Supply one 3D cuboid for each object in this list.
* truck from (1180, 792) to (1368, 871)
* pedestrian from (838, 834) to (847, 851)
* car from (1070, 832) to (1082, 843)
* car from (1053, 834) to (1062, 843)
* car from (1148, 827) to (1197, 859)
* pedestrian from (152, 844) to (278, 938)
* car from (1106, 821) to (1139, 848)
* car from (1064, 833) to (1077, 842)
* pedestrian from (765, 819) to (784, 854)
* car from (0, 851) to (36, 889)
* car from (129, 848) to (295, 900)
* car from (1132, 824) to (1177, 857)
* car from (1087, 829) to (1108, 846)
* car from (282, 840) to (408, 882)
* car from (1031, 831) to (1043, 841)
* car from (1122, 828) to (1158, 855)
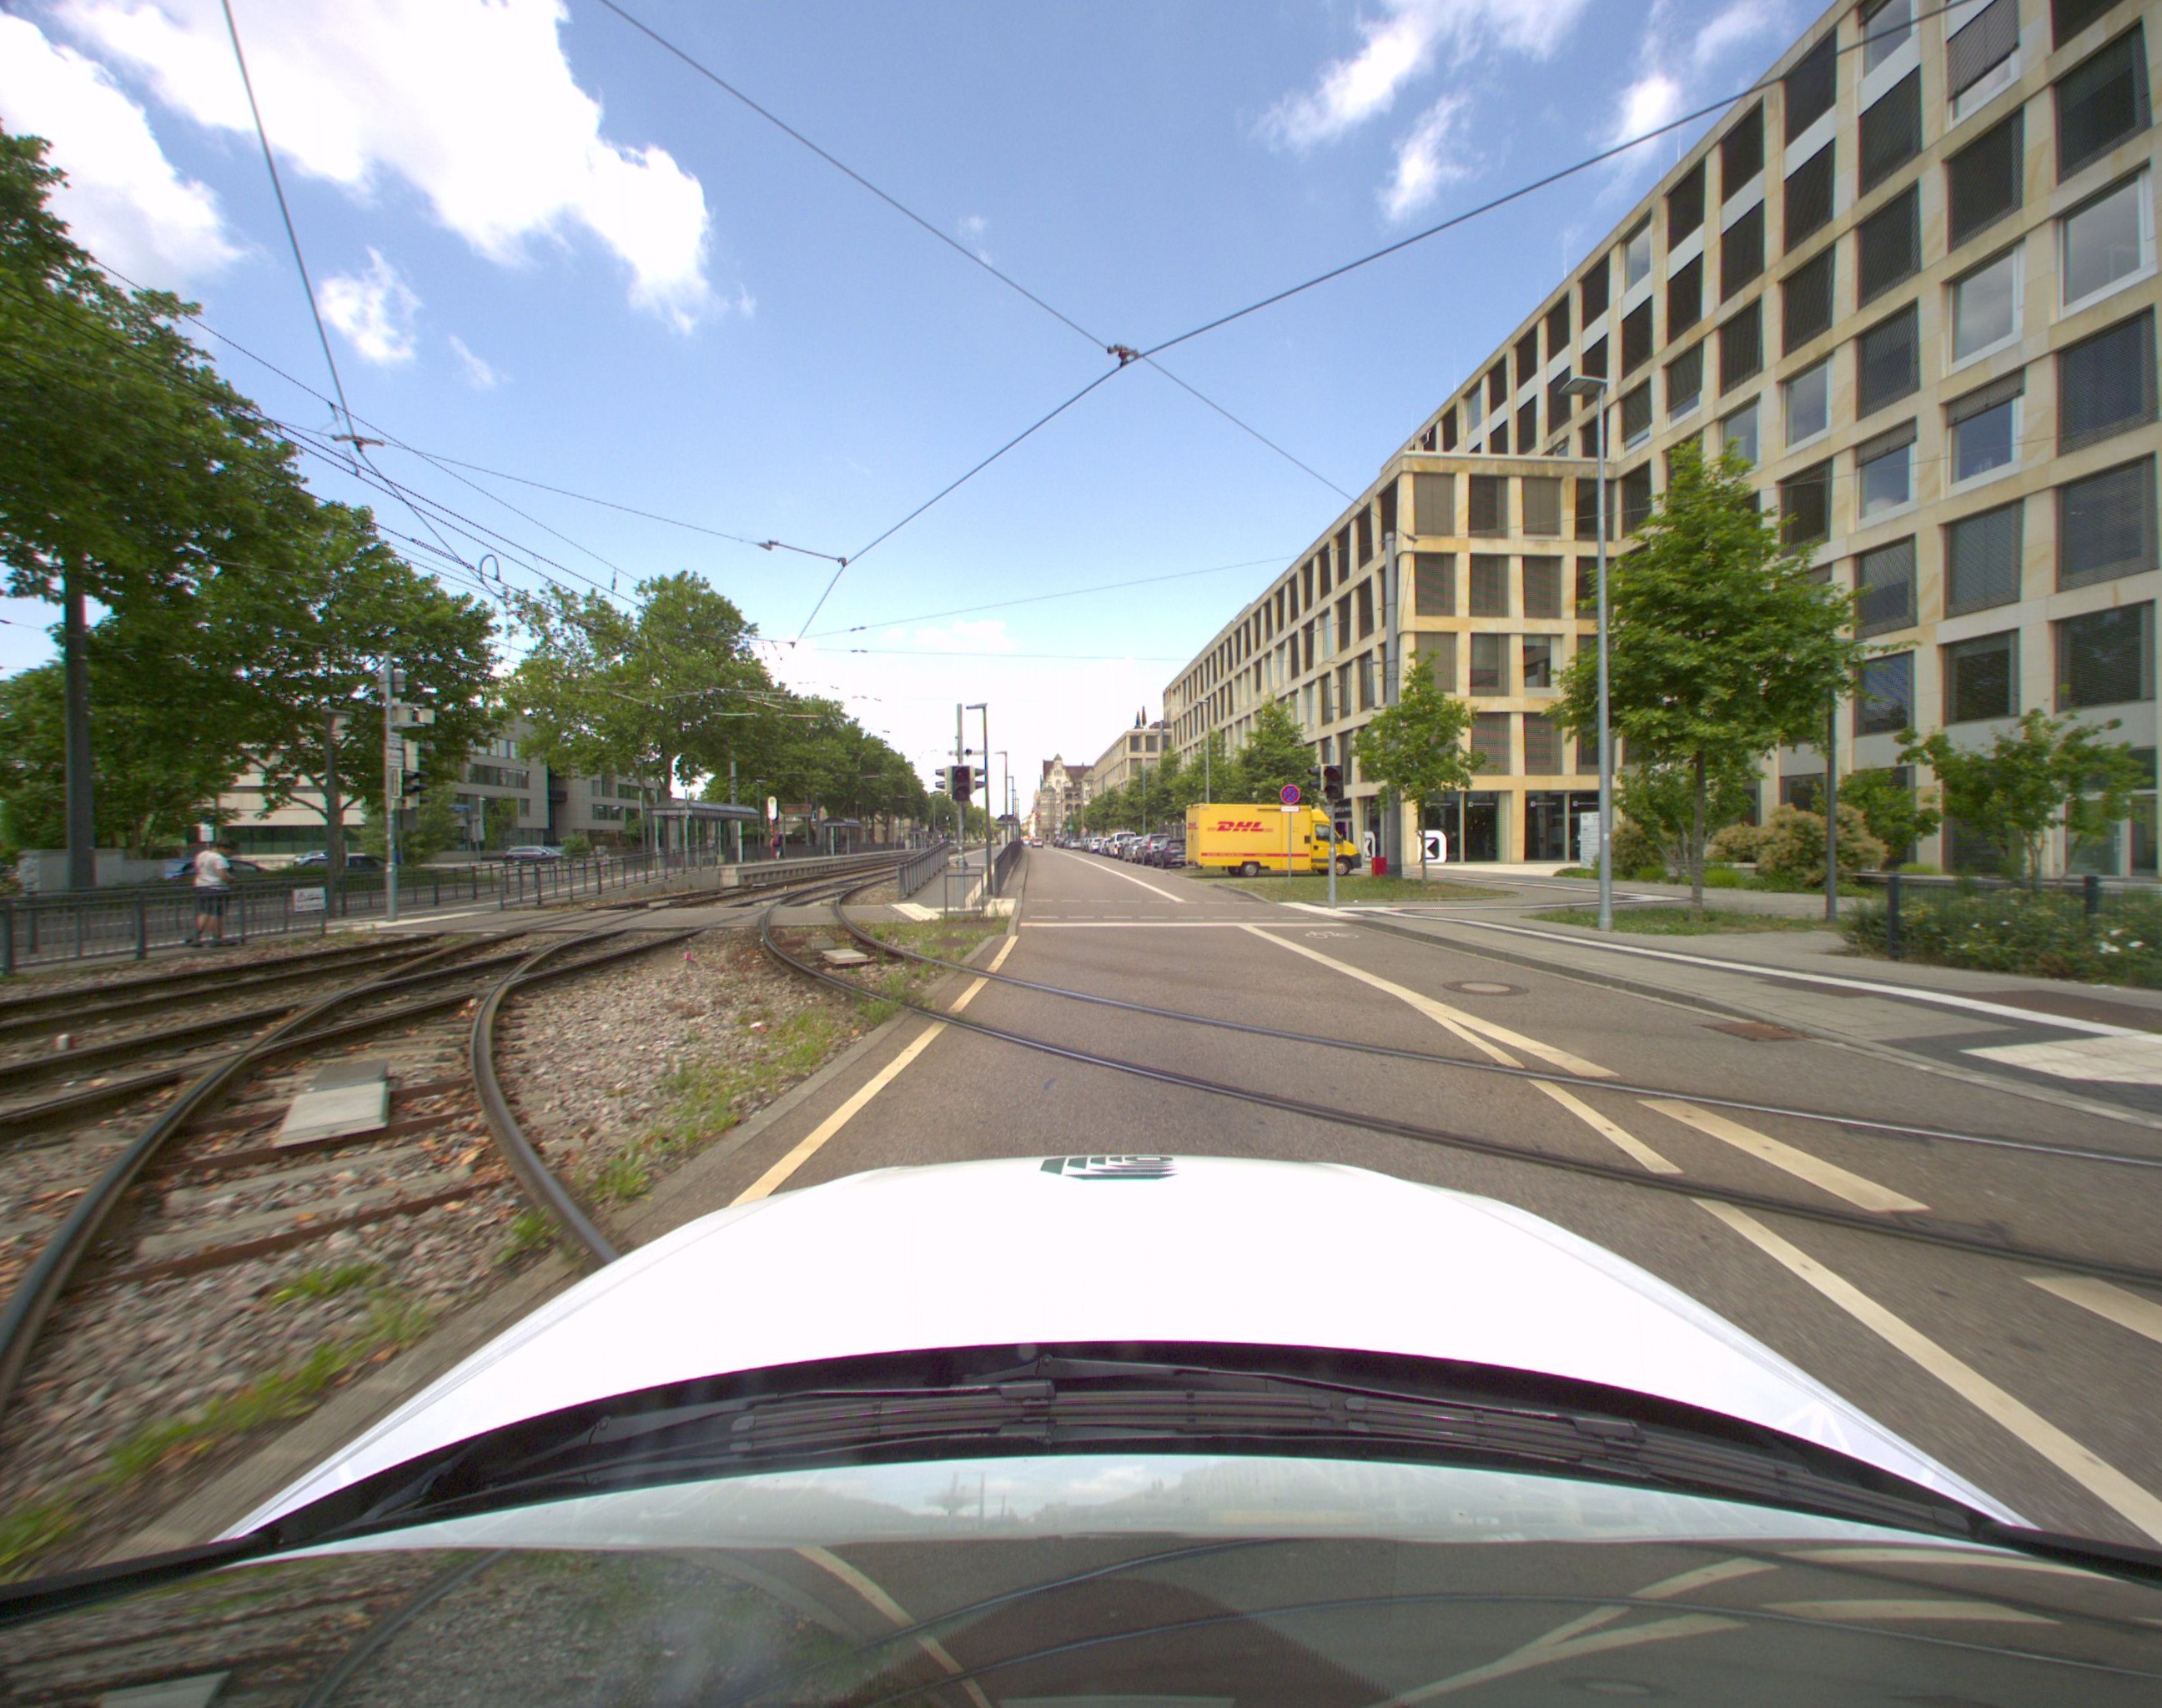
[{"bbox_3d":[7.539,-0.898,32.166,6.799,2.867,2.449,-1,1,-7],"label":"truck"},{"bbox_3d":[-19.014,-0.923,64.946,0.551,1.269,0.767,-1,1,-3],"label":"pedestrian"},{"bbox_3d":[-0.764,-2.367,116.496,1.588,1.460,3.609,0,1,-3],"label":"car"},{"bbox_3d":[-4.488,-2.950,154.285,1.441,1.470,4.084,-3,1,-6],"label":"car"},{"bbox_3d":[4.593,-0.564,41.380,1.688,1.504,4.062,-1,1,-4],"label":"car"},{"bbox_3d":[-13.205,0.540,12.453,0.917,1.343,0.864,-3,1,-2],"label":"pedestrian"},{"bbox_3d":[3.173,-1.480,63.173,1.878,1.939,4.836,-2,1,-4],"label":"car"},{"bbox_3d":[-1.615,-2.565,127.233,1.589,1.434,4.099,1,1,-6],"label":"car"},{"bbox_3d":[-16.452,-0.925,43.777,0.705,1.845,0.863,-1,1,-5],"label":"pedestrian"},{"bbox_3d":[-61.277,0.973,45.746,4.385,2.013,2.011,-2,1,23],"label":"car"},{"bbox_3d":[-29.578,0.636,27.897,1.686,1.534,3.652,-2,2,-1],"label":"car"},{"bbox_3d":[4.150,-0.798,46.832,1.766,1.767,4.833,-1,1,-4],"label":"car"},{"bbox_3d":[1.700,-1.717,83.966,1.682,1.606,4.146,-2,1,-4],"label":"car"},{"bbox_3d":[-29.469,0.234,32.761,1.686,1.534,3.652,-2,2,-1],"label":"car"},{"bbox_3d":[-7.392,-3.033,136.661,1.866,1.746,3.993,0,1,-5],"label":"car"},{"bbox_3d":[3.727,-0.781,51.964,1.718,1.619,3.854,-1,1,-4],"label":"car"}]
